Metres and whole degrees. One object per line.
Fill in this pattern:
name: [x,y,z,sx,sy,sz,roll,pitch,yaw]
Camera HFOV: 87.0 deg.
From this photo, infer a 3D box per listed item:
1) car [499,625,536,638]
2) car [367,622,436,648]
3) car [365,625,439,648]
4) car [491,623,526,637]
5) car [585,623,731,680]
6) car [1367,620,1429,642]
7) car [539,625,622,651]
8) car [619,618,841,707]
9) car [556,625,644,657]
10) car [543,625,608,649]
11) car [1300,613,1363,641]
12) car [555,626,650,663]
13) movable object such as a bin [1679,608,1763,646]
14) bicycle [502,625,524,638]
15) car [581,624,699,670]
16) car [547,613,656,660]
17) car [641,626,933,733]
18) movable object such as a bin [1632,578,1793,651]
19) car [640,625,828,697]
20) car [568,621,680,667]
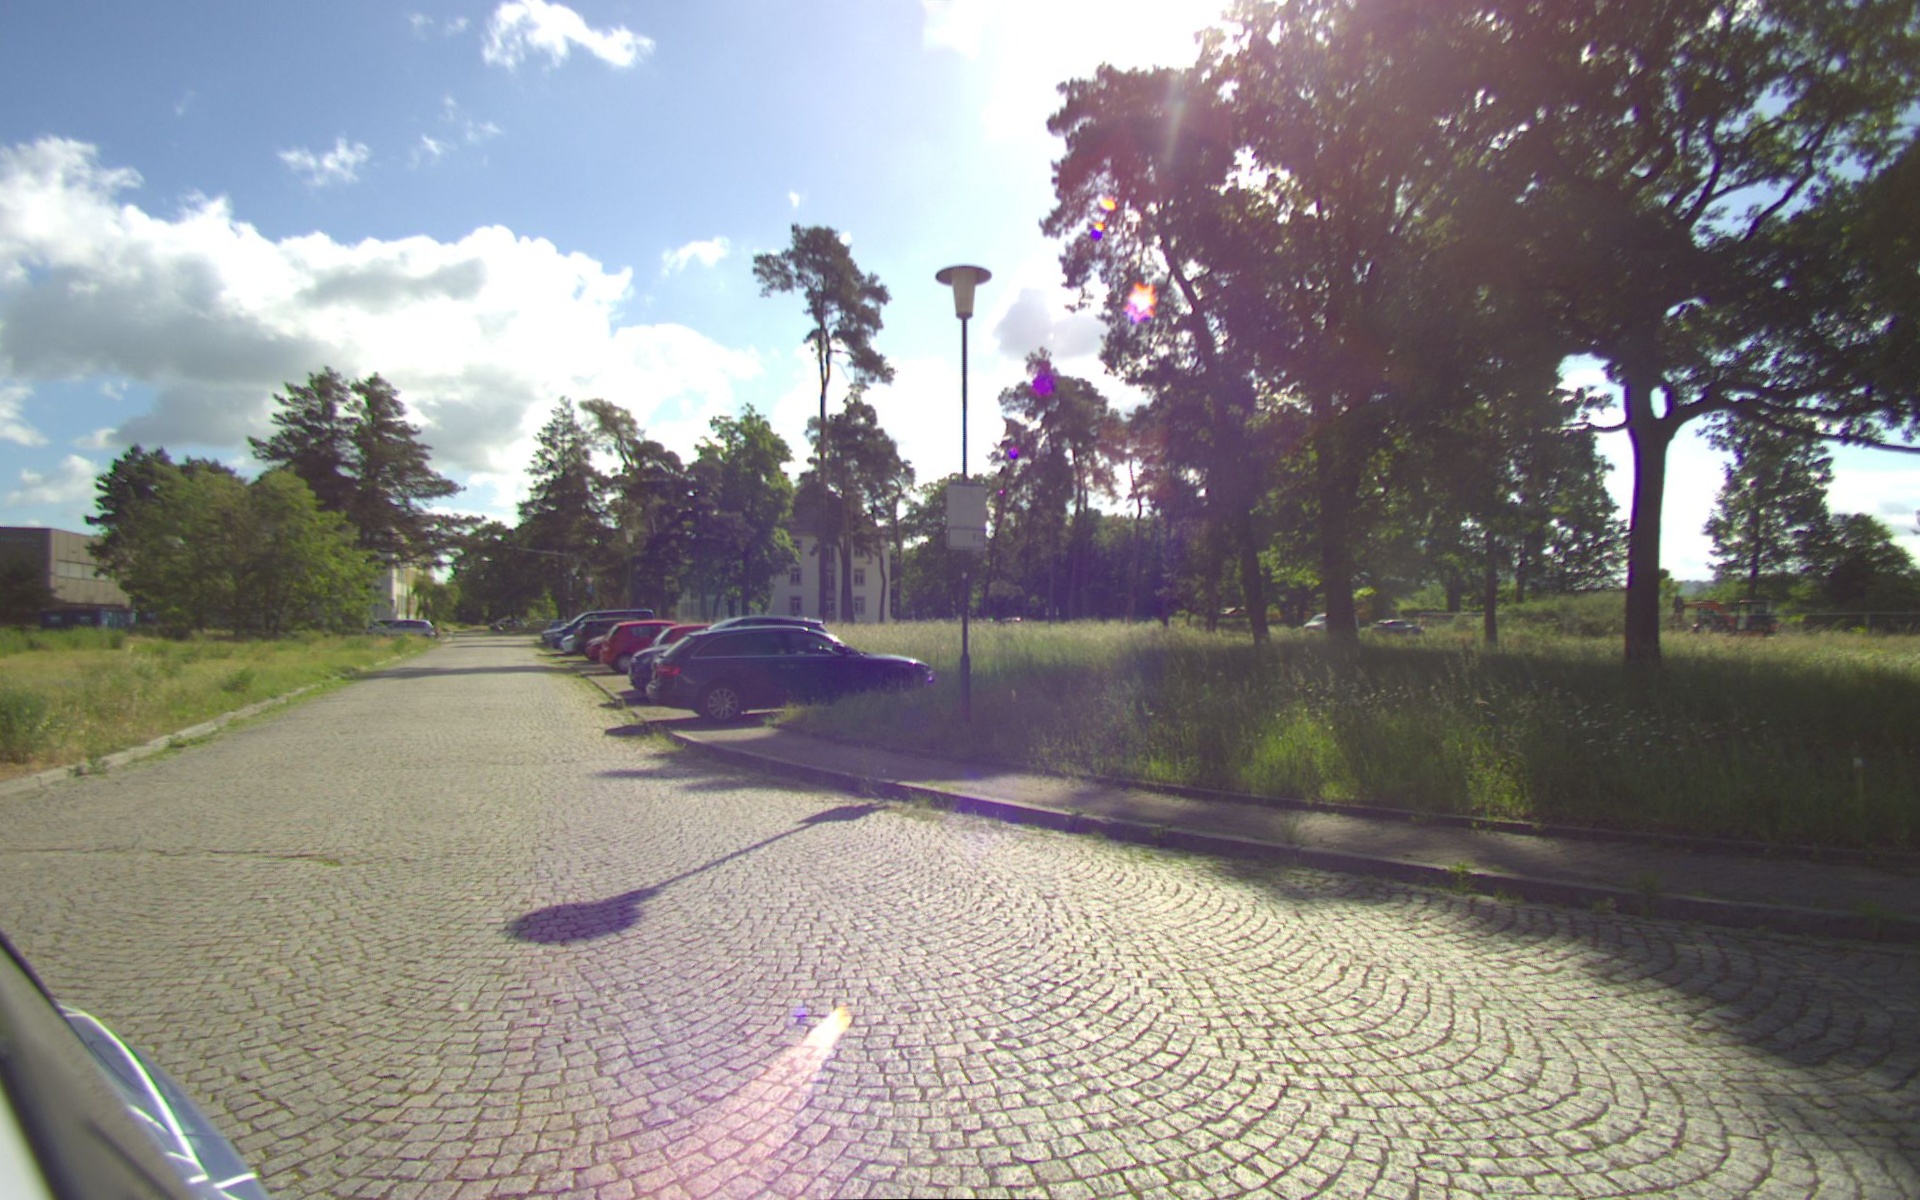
car: [-55.231,3.900,126.374,3.976,1.534,1.823,1,-2,-32]
car: [-35.434,2.255,64.326,3.687,1.487,1.757,3,-3,-26]
car: [-39.270,2.568,71.371,4.449,1.476,1.845,3,-2,-27]
car: [-63.277,4.139,141.847,4.156,1.928,1.823,1,-2,-34]
car: [-8.917,1.482,29.917,3.868,1.472,1.848,-1,-1,-26]
car: [33.208,2.362,76.763,4.169,1.617,1.919,1,-1,-23]
car: [-24.185,2.381,64.466,4.796,1.431,1.945,-1,0,-24]
car: [-4.674,1.202,20.525,4.076,1.591,1.890,-1,-1,-24]
car: [-18.677,2.105,52.540,4.137,1.486,1.830,-1,-1,-24]
car: [-26.364,2.543,69.354,3.970,1.494,1.955,-1,-1,-26]
car: [30.313,2.200,82.657,4.777,2.180,1.963,1,-1,-23]
car: [-15.932,1.942,45.092,3.762,1.451,1.688,-2,0,-27]
movable object such as a bin: [45.110,1.561,60.134,2.511,2.142,5.638,0,-1,21]
bicycle: [-49.698,3.476,112.528,2.079,1.293,0.623,-6,1,-27]
car: [-11.706,1.680,37.021,3.868,1.460,1.872,-2,-1,-26]
car: [-16.835,1.654,47.509,4.651,1.983,2.012,-2,0,-24]
car: [-2.789,1.189,16.220,4.298,1.456,1.927,-1,-1,-21]
movable object such as a bin: [41.426,0.816,55.831,6.790,3.759,3.876,-1,-2,42]
car: [-5.134,1.335,22.949,3.868,1.444,1.848,-1,-1,-23]
car: [-13.096,1.697,39.402,3.897,1.580,1.980,-2,-1,-26]
